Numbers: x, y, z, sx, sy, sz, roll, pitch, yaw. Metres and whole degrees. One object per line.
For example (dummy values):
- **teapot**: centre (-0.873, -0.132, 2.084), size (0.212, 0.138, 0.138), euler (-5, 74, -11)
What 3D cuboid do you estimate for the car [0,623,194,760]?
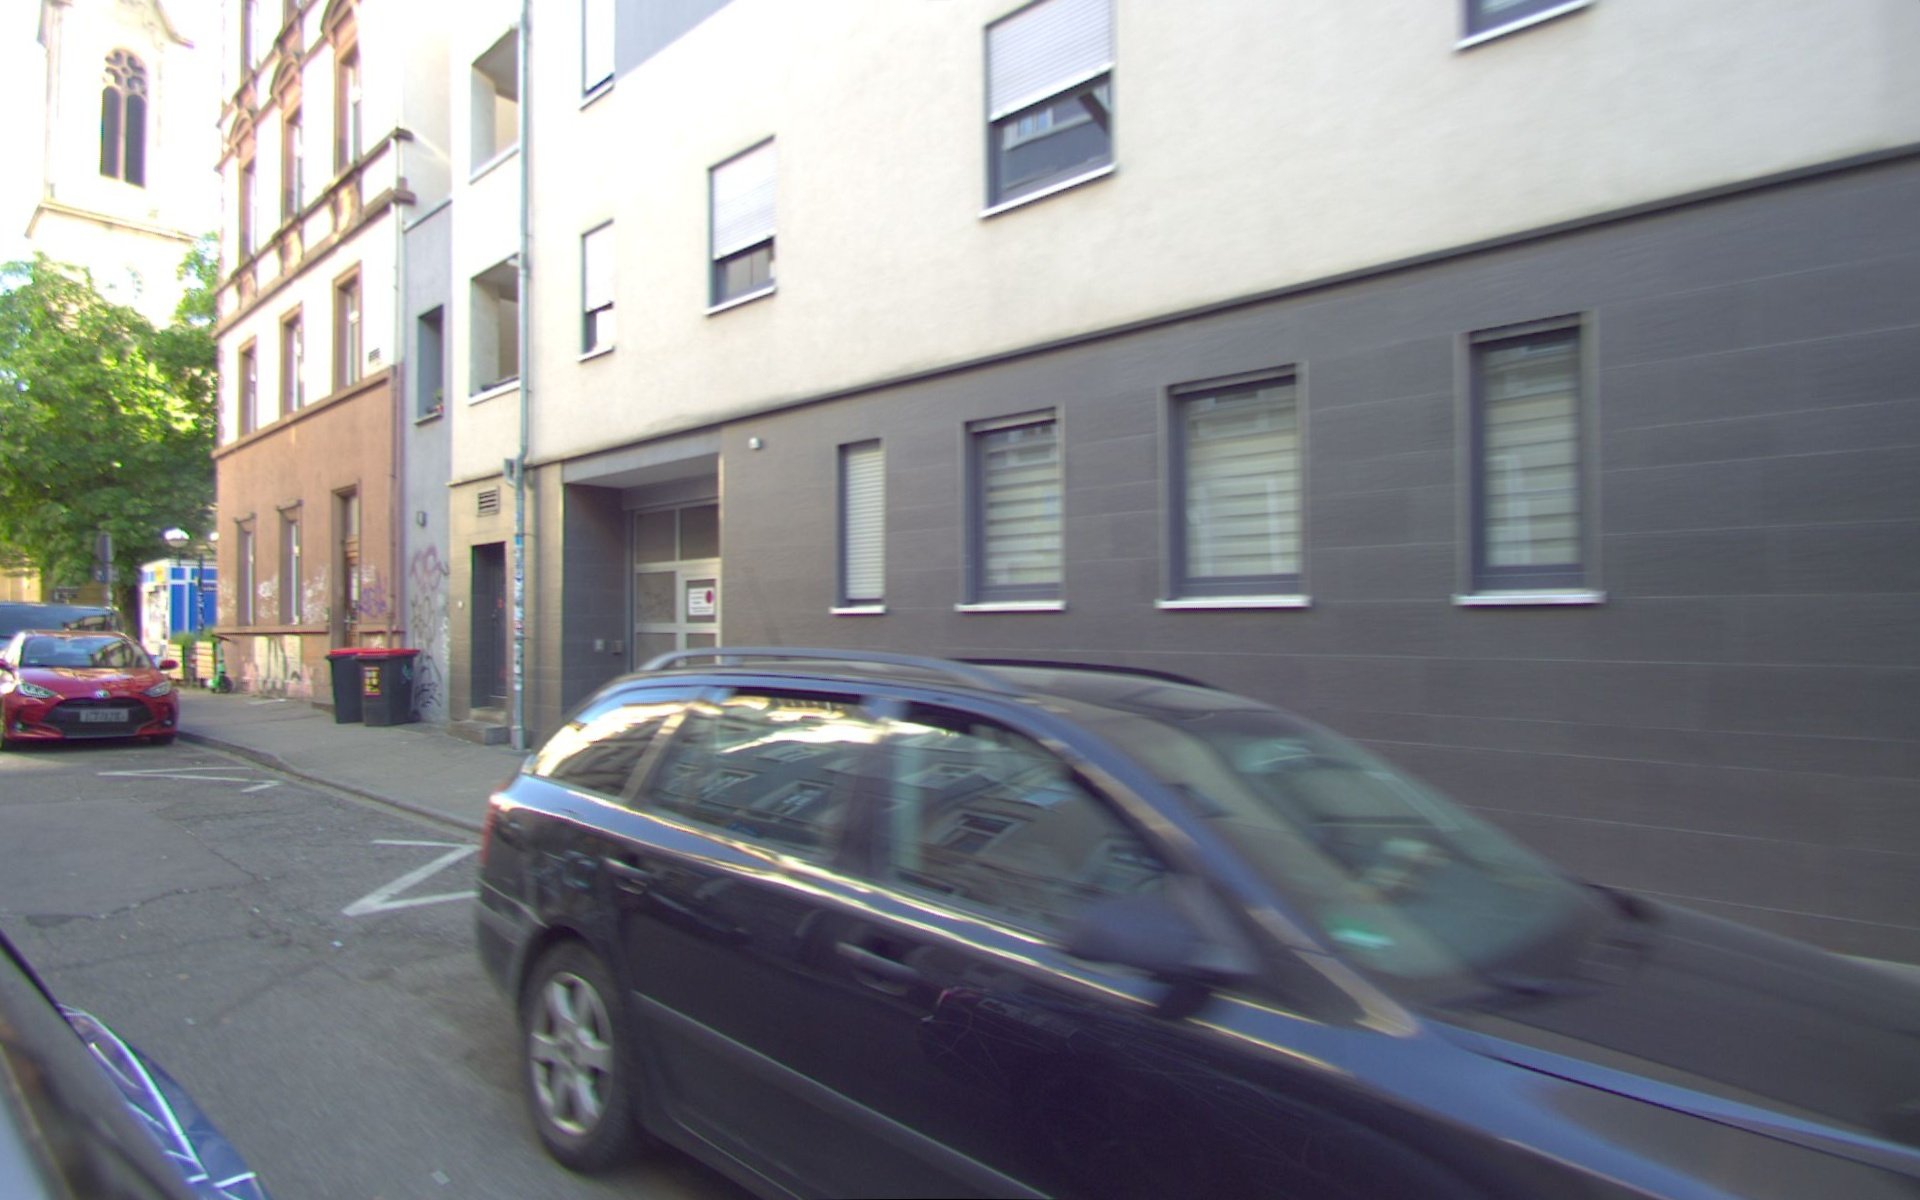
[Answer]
- **car**: centre (-11.688, 1.109, 13.342), size (3.868, 1.533, 1.732), euler (-1, -4, 42)

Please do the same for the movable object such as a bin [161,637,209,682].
- **movable object such as a bin**: centre (-20.165, 1.536, 26.324), size (0.774, 1.094, 0.860), euler (-1, -1, 42)

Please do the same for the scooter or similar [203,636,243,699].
- **scooter or similar**: centre (-15.073, 1.365, 20.687), size (1.391, 1.226, 0.344), euler (-1, -1, 41)

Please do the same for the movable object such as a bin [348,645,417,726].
- **movable object such as a bin**: centre (-8.098, 1.191, 14.214), size (0.501, 1.075, 0.728), euler (-1, 0, 10)

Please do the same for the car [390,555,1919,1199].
- **car**: centre (0.337, 0.806, 2.618), size (4.496, 1.490, 1.699), euler (-3, -5, 41)

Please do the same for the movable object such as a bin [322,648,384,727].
- **movable object such as a bin**: centre (-8.823, 1.258, 14.726), size (0.748, 1.075, 0.653), euler (0, -1, -29)

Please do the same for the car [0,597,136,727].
- **car**: centre (-15.624, 0.977, 17.047), size (5.296, 1.893, 1.998), euler (-2, -1, 43)
